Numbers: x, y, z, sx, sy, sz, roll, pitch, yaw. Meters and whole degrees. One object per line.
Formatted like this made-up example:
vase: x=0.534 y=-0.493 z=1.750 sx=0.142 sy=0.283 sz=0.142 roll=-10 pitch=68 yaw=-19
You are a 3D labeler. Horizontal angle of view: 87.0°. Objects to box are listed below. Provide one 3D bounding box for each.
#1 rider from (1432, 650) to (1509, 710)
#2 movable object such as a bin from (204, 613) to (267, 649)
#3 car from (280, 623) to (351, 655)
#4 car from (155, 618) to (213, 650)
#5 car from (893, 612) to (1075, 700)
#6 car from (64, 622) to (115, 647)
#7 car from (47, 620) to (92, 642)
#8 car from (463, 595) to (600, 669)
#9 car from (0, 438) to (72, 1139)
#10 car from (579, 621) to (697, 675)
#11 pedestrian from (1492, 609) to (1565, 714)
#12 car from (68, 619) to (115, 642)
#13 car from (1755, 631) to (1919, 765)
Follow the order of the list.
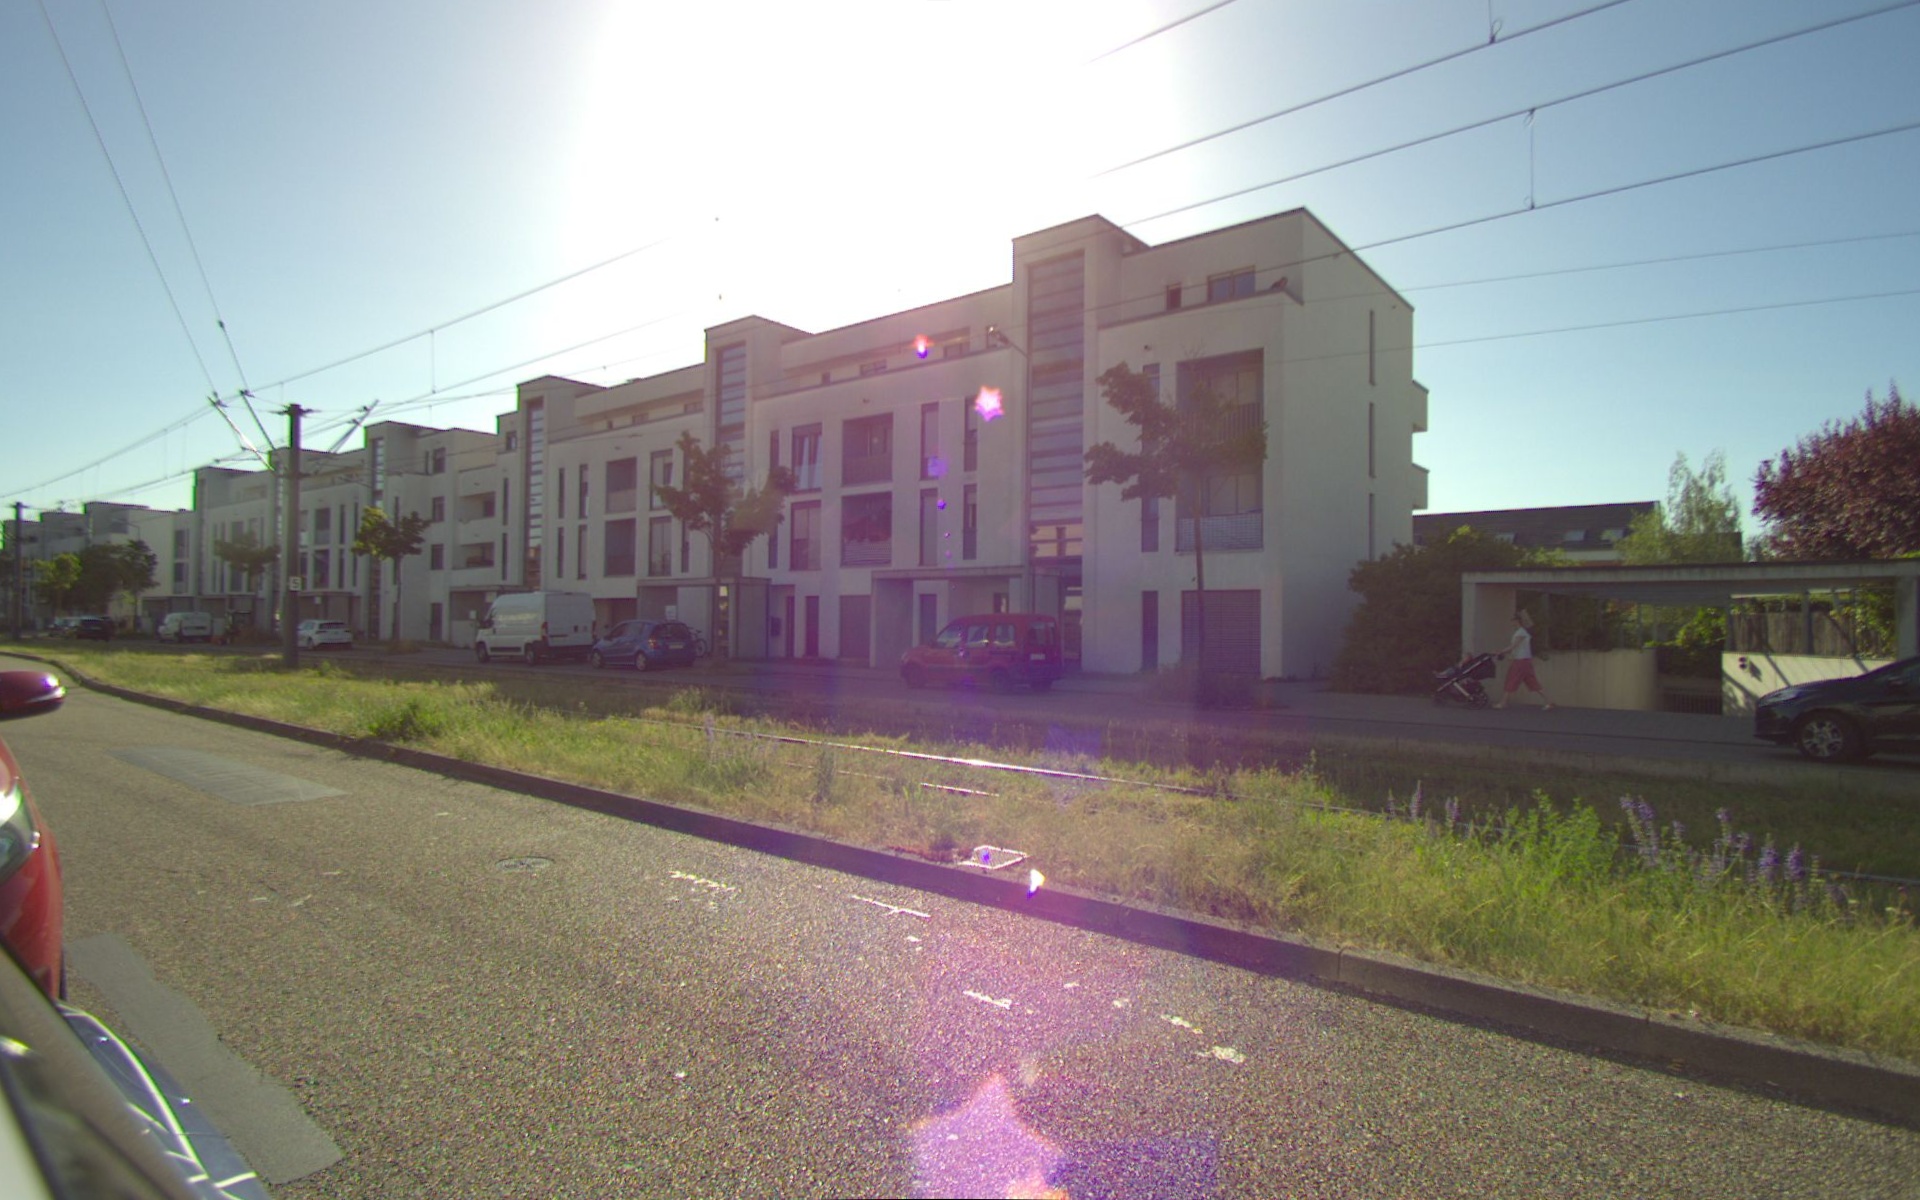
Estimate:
rider: x=9.272 y=1.440 z=18.404 sx=0.769 sy=1.010 sz=1.046 roll=0 pitch=-1 yaw=-44
movable object such as a bin: x=-41.276 y=1.752 z=57.614 sx=4.149 sy=1.952 sz=1.745 roll=-1 pitch=-1 yaw=37
car: x=-31.154 y=1.850 z=48.877 sx=4.149 sy=1.443 sz=1.503 roll=-1 pitch=-1 yaw=37
car: x=-47.259 y=2.036 z=61.625 sx=4.149 sy=1.884 sz=1.745 roll=-1 pitch=-1 yaw=37
car: x=0.485 y=1.208 z=22.989 sx=3.836 sy=1.809 sz=1.861 roll=-1 pitch=-1 yaw=42
car: x=-53.150 y=2.100 z=61.777 sx=3.999 sy=1.429 sz=1.769 roll=-1 pitch=-4 yaw=42
car: x=-67.566 y=2.326 z=76.786 sx=4.149 sy=1.611 sz=1.745 roll=-1 pitch=-1 yaw=37
car: x=-15.337 y=1.104 z=36.080 sx=5.583 sy=2.463 sz=2.119 roll=-1 pitch=-1 yaw=39
car: x=-5.158 y=0.573 z=3.928 sx=5.203 sy=1.948 sz=1.954 roll=-1 pitch=0 yaw=42
car: x=-10.099 y=1.450 z=31.634 sx=3.840 sy=1.548 sz=1.805 roll=-1 pitch=-1 yaw=41
pedestrian: x=9.936 y=1.045 z=17.689 sx=0.910 sy=1.761 sz=0.806 roll=-2 pitch=-1 yaw=45
car: x=-63.046 y=2.218 z=73.415 sx=4.149 sy=1.611 sz=1.745 roll=-1 pitch=-1 yaw=37
car: x=11.300 y=1.087 z=11.145 sx=1.682 sy=1.442 sz=3.745 roll=4 pitch=-4 yaw=-41
